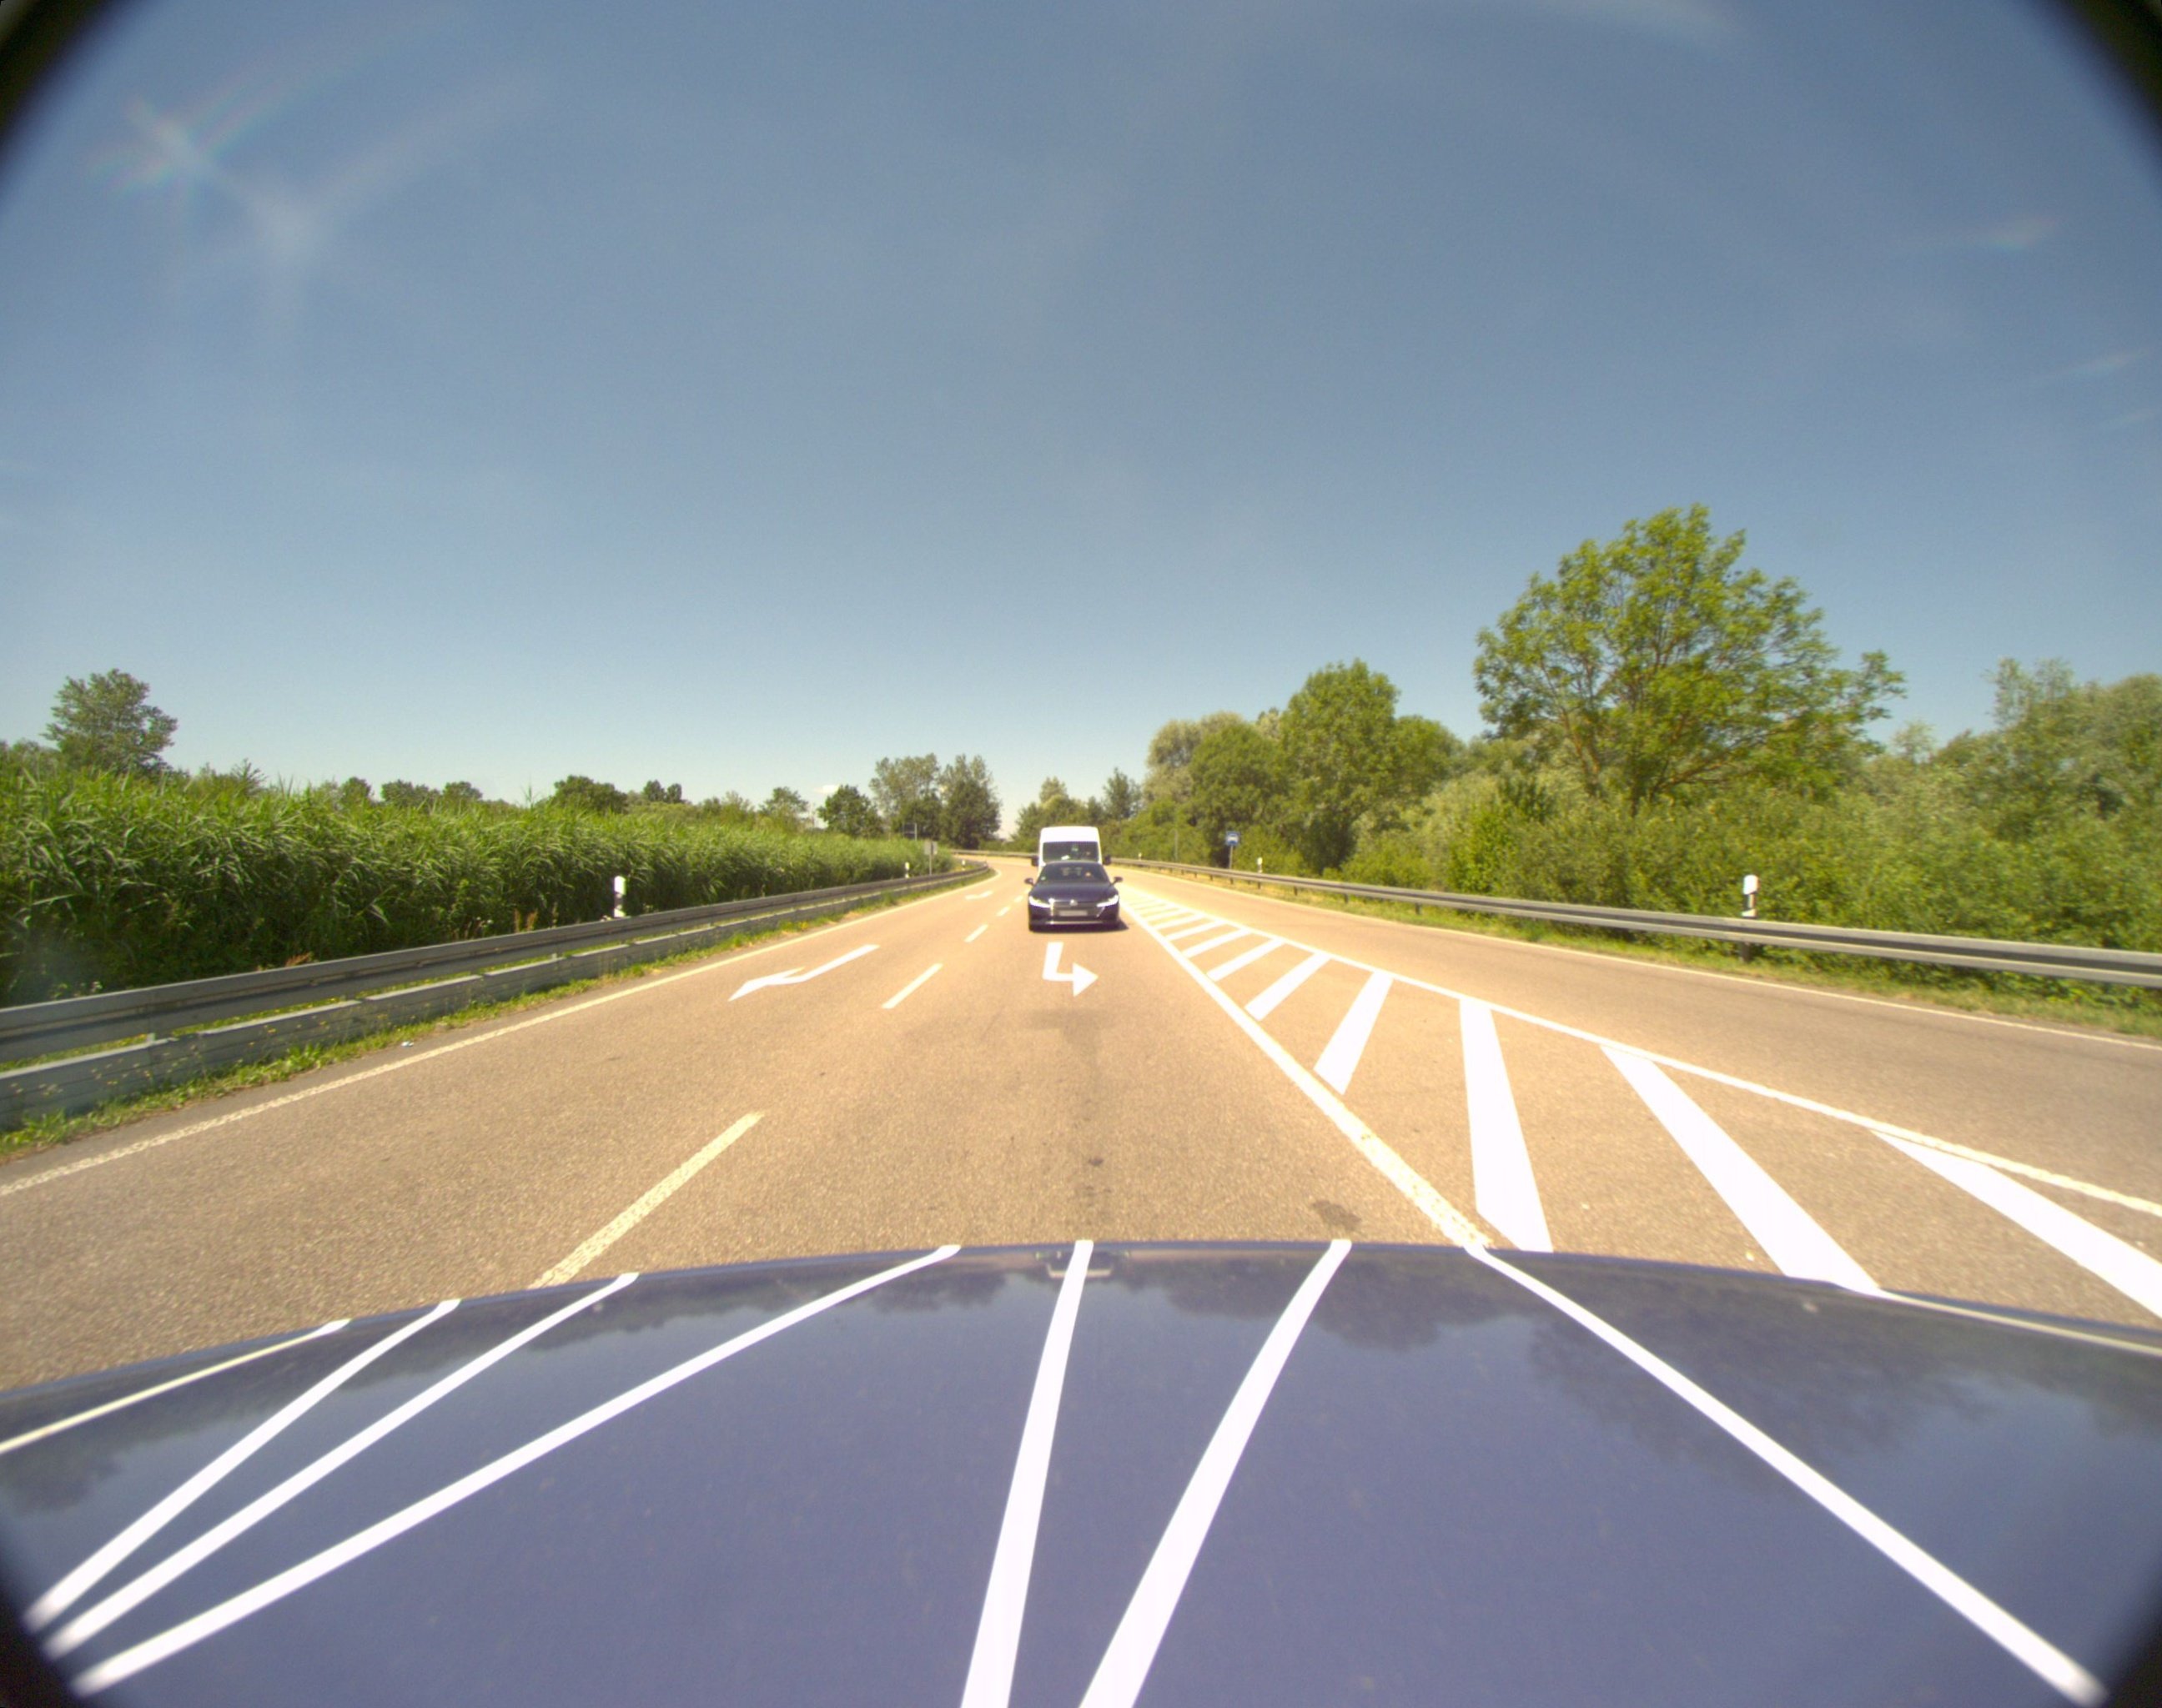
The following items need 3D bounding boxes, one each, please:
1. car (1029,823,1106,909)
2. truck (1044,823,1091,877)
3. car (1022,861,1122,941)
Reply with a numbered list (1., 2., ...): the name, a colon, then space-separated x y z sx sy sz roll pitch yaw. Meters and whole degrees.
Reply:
1. car: -0.374 0.366 25.448 2.228 2.480 5.982 -1 0 1
2. truck: -1.015 -0.210 49.101 2.694 3.176 9.174 0 0 -3
3. car: -0.149 0.909 16.490 1.847 1.415 4.562 -1 0 1
